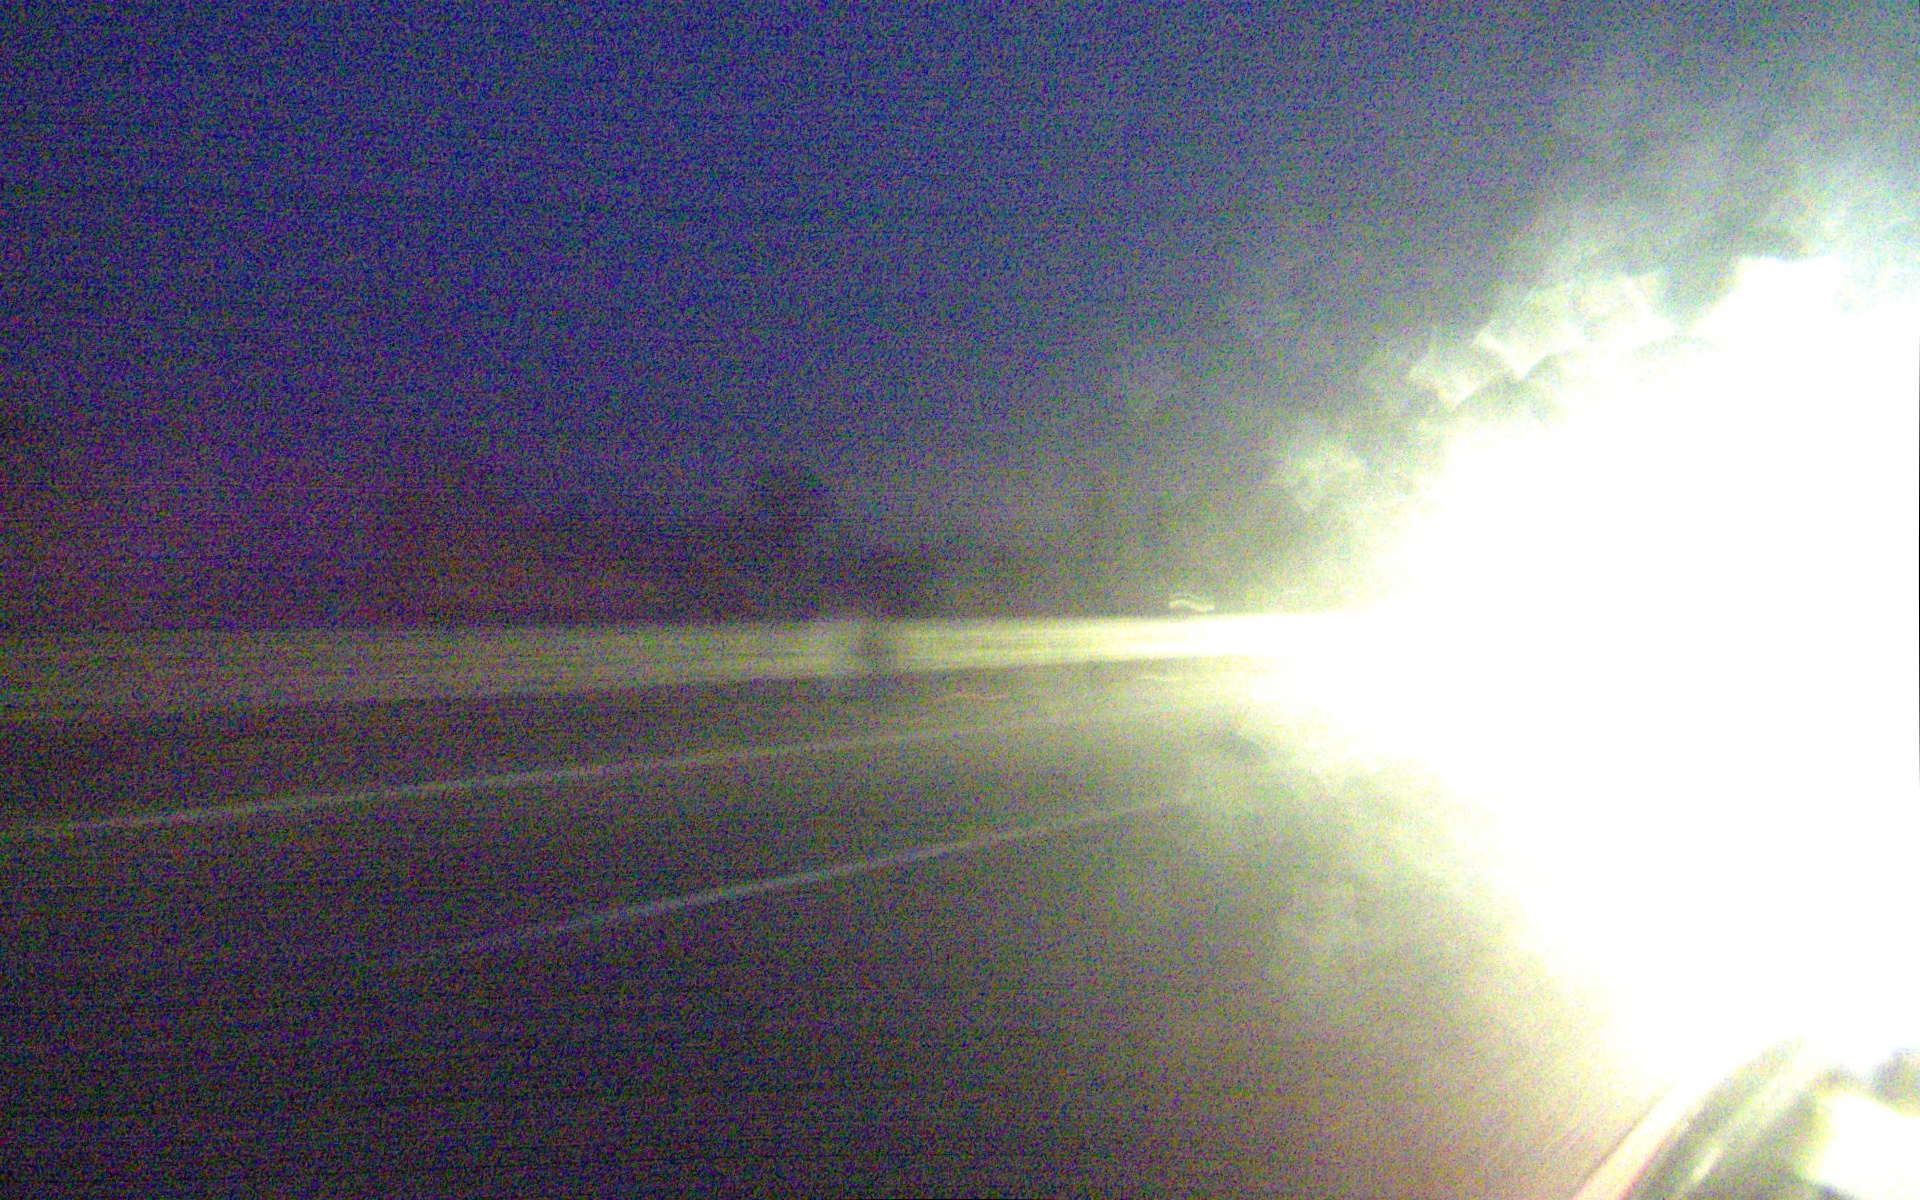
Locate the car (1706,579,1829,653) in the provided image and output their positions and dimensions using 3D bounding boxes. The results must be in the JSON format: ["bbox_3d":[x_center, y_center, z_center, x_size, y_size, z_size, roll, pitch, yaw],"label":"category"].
[{"bbox_3d":[22.116,0.424,27.653,4.616,1.870,1.830,1,-1,-41],"label":"car"}]
